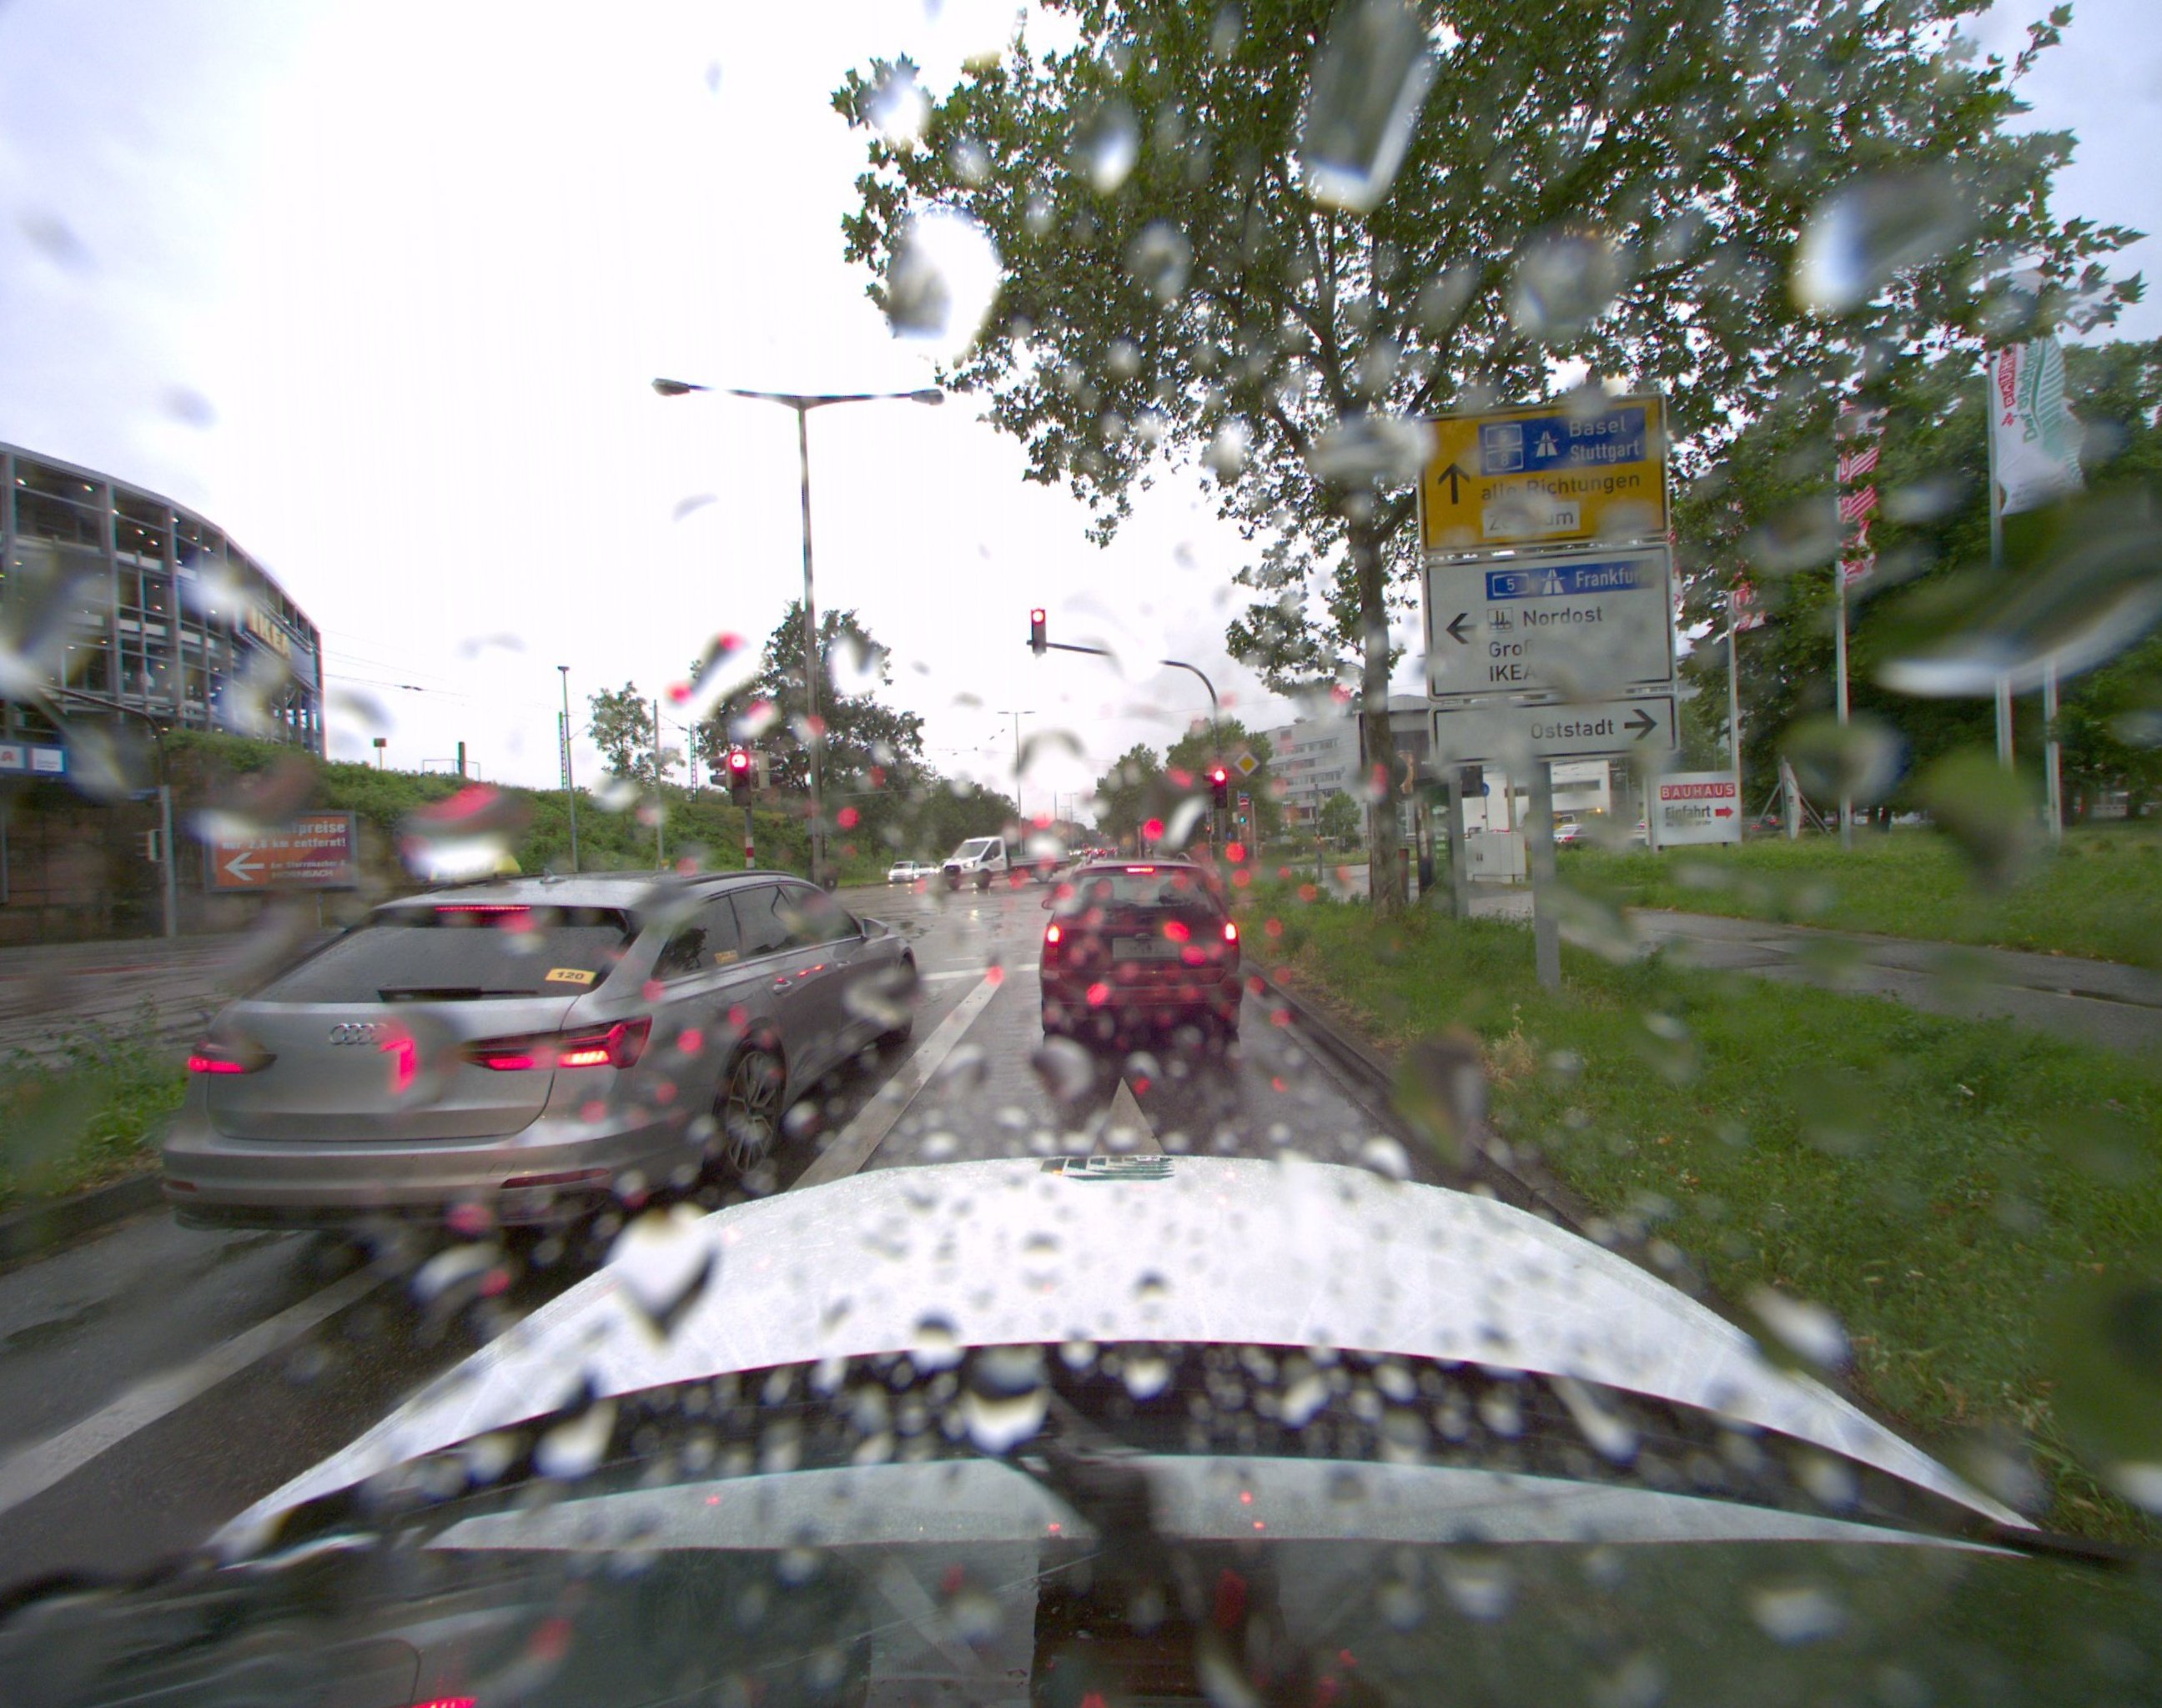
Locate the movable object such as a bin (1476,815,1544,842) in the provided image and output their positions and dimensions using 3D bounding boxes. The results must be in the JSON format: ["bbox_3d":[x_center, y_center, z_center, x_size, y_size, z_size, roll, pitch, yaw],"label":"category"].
[{"bbox_3d":[53.772,-3.164,102.171,3.342,2.995,6.650,-3,0,-34],"label":"movable object such as a bin"}]

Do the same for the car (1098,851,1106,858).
[{"bbox_3d":[4.950,0.119,194.258,1.691,1.528,3.849,-3,0,3],"label":"car"}]

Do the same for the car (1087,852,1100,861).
[{"bbox_3d":[2.452,0.456,153.289,2.138,1.528,4.197,-3,0,4],"label":"car"}]

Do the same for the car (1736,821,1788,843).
[{"bbox_3d":[53.800,-1.759,64.294,4.645,1.586,1.907,-2,-1,-34],"label":"car"}]

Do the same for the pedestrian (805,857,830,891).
[{"bbox_3d":[-14.948,1.108,46.206,1.102,1.847,1.126,-3,0,-10],"label":"pedestrian"}]

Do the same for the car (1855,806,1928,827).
[{"bbox_3d":[72.559,-3.389,72.968,4.596,1.586,1.927,-2,-1,0],"label":"car"}]

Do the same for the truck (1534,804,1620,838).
[{"bbox_3d":[57.971,-3.816,95.389,3.342,3.507,7.806,-3,0,-33],"label":"truck"}]

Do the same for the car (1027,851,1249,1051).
[{"bbox_3d":[0.454,0.714,7.917,1.636,1.465,3.733,0,0,1],"label":"car"}]

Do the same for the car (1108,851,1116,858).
[{"bbox_3d":[6.977,0.094,183.845,1.664,1.528,3.849,-3,0,3],"label":"car"}]

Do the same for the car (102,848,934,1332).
[{"bbox_3d":[-2.280,0.761,5.080,1.763,1.574,4.822,0,0,1],"label":"car"}]

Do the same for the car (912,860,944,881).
[{"bbox_3d":[-11.572,1.226,61.874,1.585,1.404,3.823,-3,0,1],"label":"car"}]

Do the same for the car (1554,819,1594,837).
[{"bbox_3d":[49.813,-2.607,82.237,4.258,1.726,1.724,-1,0,-32],"label":"car"}]

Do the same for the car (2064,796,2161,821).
[{"bbox_3d":[88.540,-3.893,69.318,2.286,1.731,5.899,-3,0,-33],"label":"car"}]

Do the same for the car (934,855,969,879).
[{"bbox_3d":[-8.945,0.876,56.528,1.632,1.473,3.966,-3,0,1],"label":"car"}]

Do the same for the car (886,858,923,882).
[{"bbox_3d":[-11.975,1.067,55.554,1.633,1.452,3.786,-3,0,0],"label":"car"}]

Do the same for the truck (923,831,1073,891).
[{"bbox_3d":[-3.561,0.254,36.785,2.450,2.365,6.911,-3,0,40],"label":"truck"}]

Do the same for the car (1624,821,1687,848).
[{"bbox_3d":[38.844,-1.336,54.999,4.644,1.586,1.907,-2,0,-34],"label":"car"}]

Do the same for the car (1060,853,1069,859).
[{"bbox_3d":[-4.567,0.589,229.701,2.084,1.528,4.197,-3,0,4],"label":"car"}]

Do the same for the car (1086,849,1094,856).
[{"bbox_3d":[2.145,-0.365,202.427,1.691,1.528,3.849,-3,0,3],"label":"car"}]

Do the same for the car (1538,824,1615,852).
[{"bbox_3d":[29.493,-0.958,48.431,4.847,1.491,1.908,-2,-1,-32],"label":"car"}]

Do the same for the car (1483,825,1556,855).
[{"bbox_3d":[23.568,-0.771,43.733,3.829,1.491,1.662,-2,0,-31],"label":"car"}]
